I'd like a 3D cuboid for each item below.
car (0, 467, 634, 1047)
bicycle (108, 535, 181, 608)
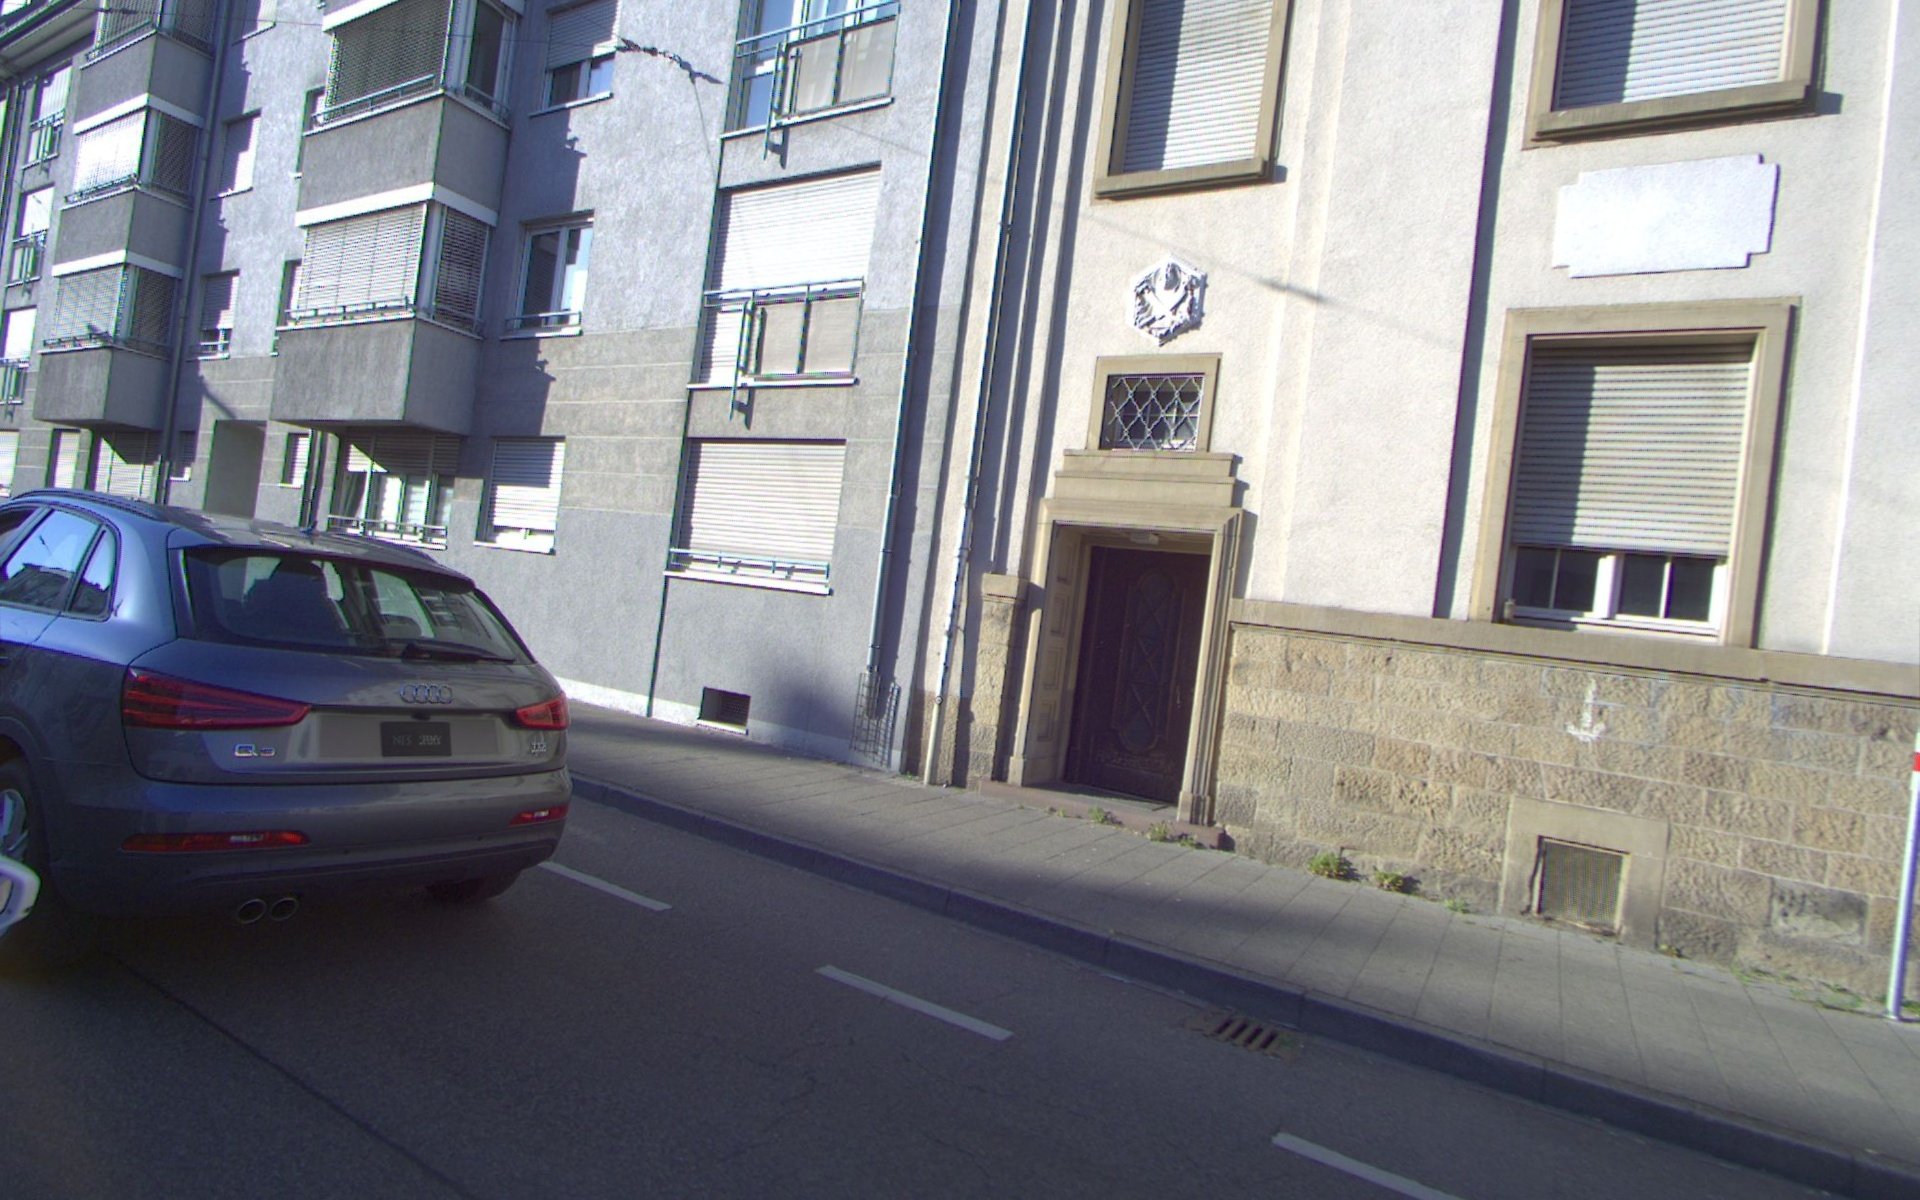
[{"bbox_3d":[-3.643,0.369,4.541,4.156,1.570,1.702,5,-4,32],"label":"car"},{"bbox_3d":[-14.087,-0.498,17.367,1.478,1.109,0.384,6,-1,30],"label":"bicycle"}]
